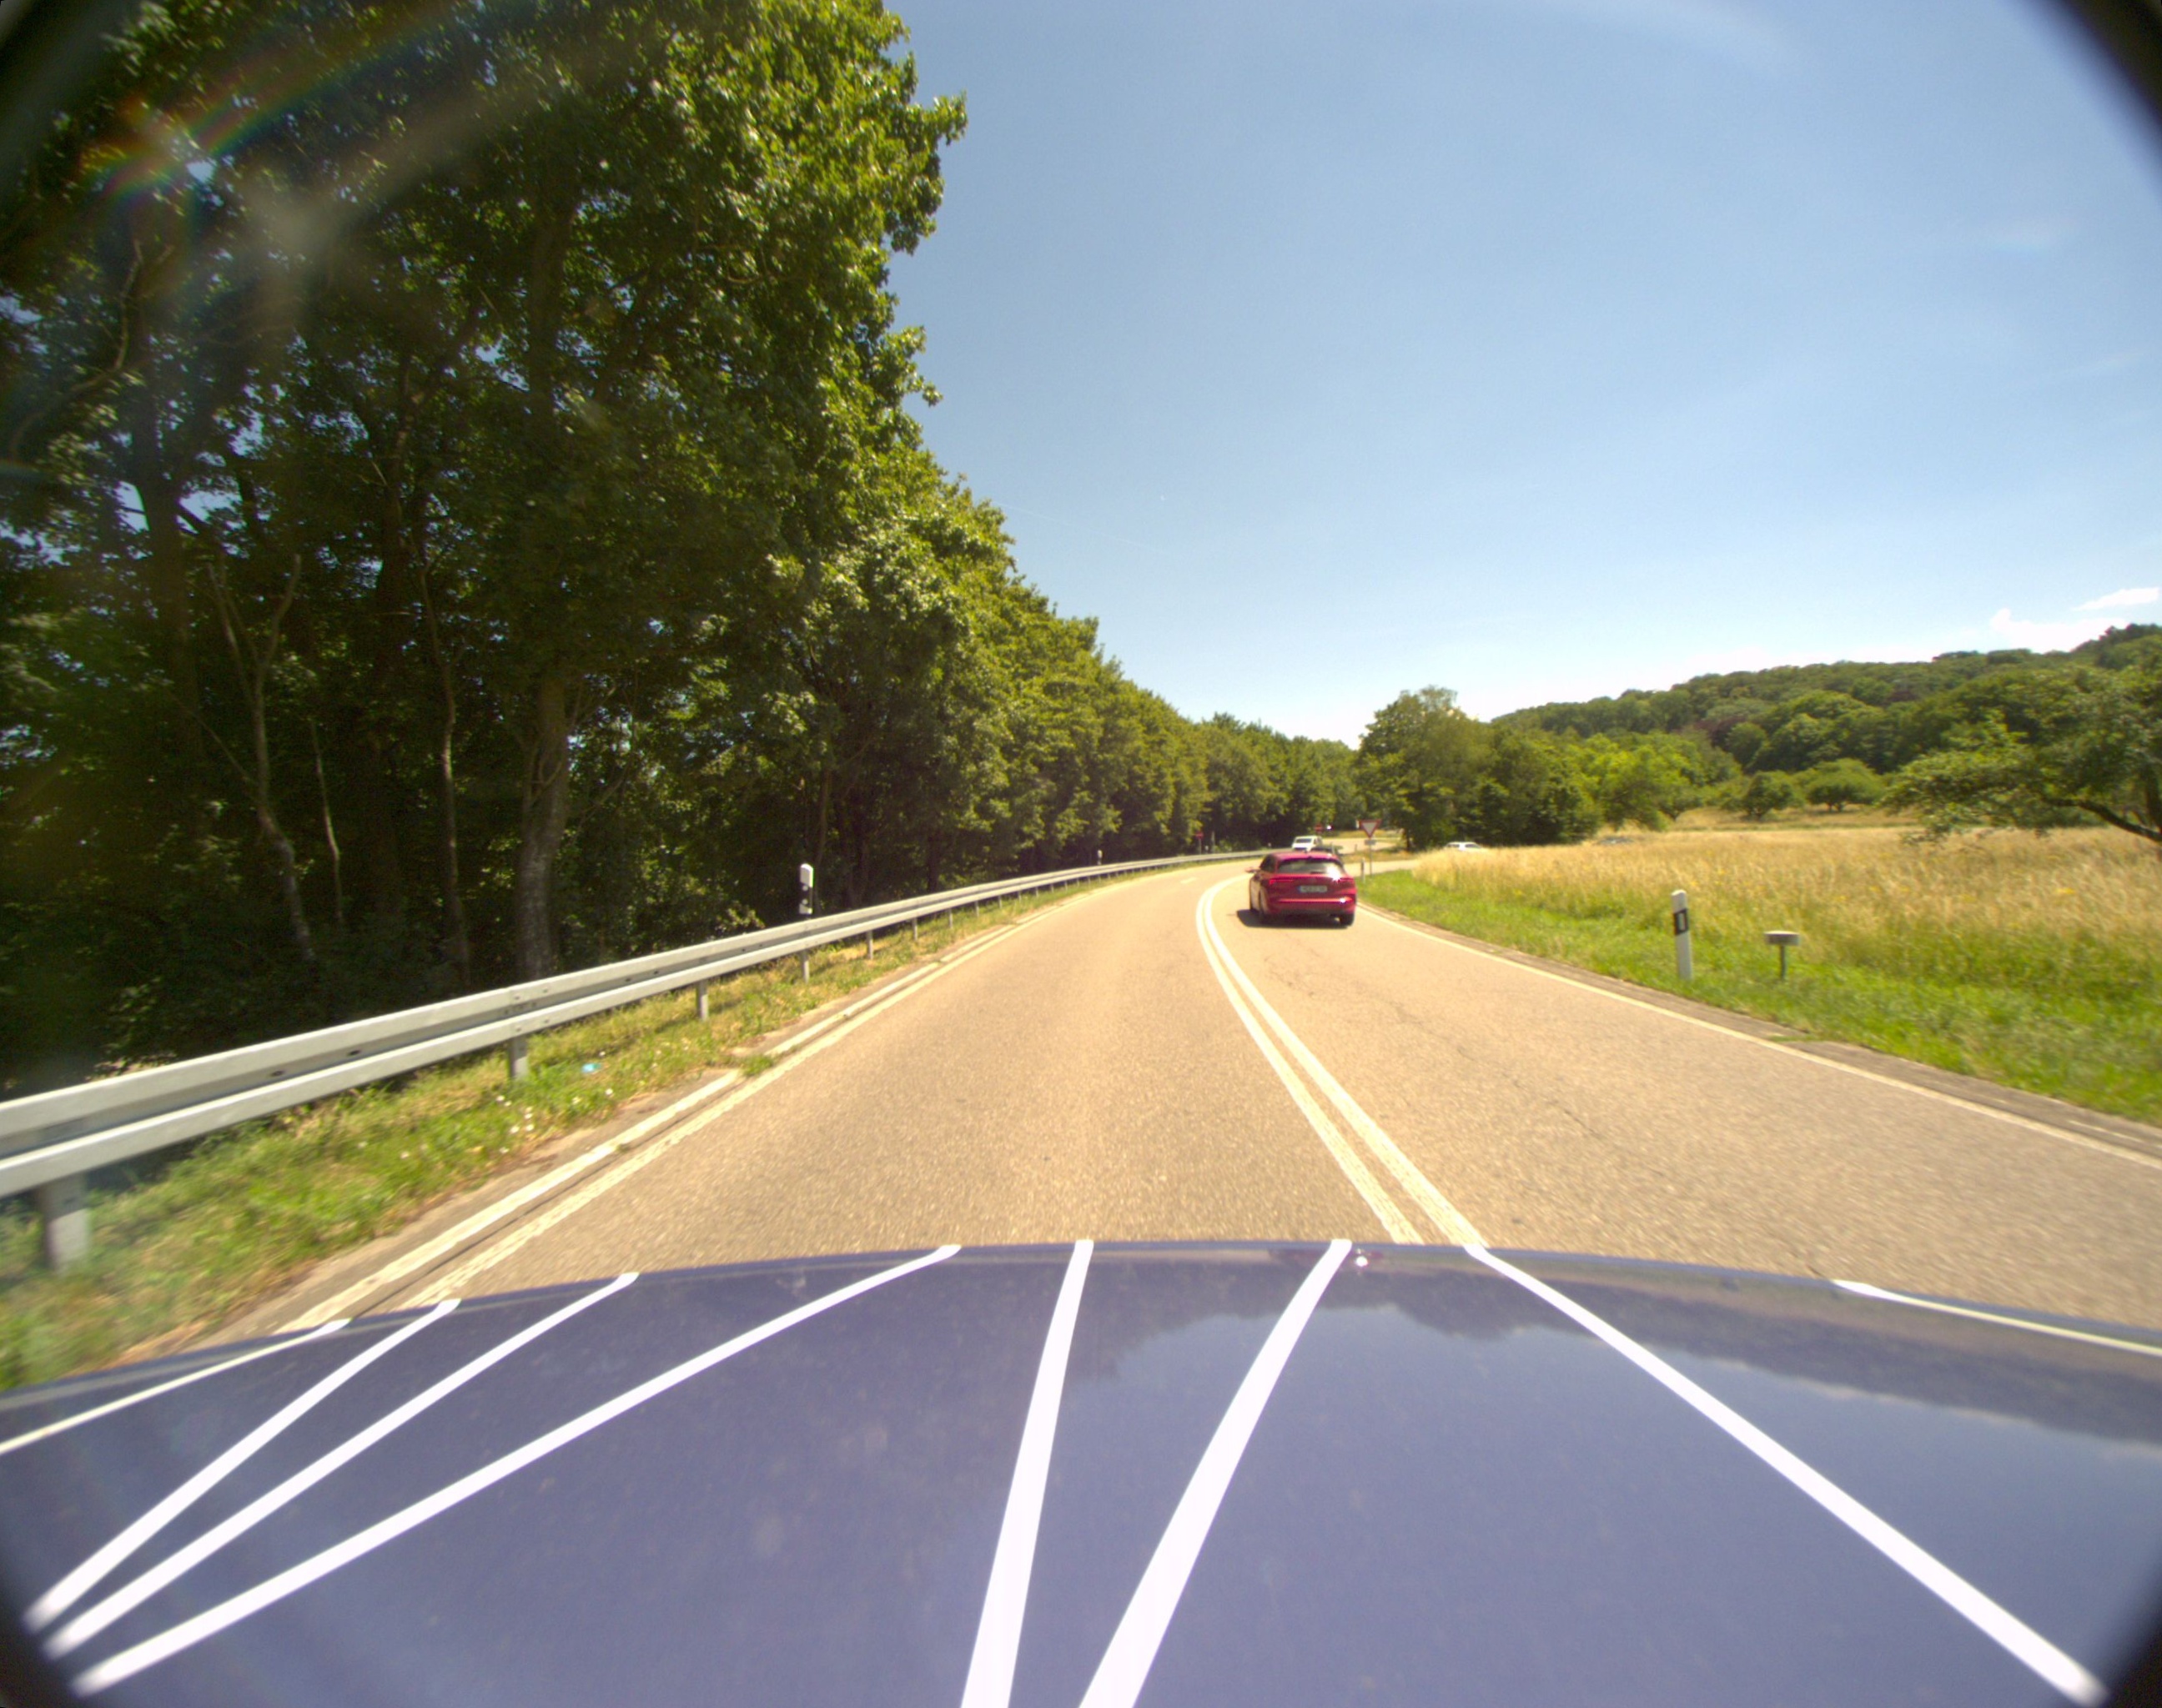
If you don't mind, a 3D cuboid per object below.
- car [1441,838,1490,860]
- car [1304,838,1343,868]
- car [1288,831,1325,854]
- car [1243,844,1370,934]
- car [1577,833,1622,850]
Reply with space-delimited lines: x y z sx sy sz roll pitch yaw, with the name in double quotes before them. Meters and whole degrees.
"car" 29.407 -0.408 58.075 4.226 1.582 1.822 -1 4 -41
"car" 13.652 -0.083 42.685 1.736 1.498 4.078 -2 1 22
"car" 22.327 -1.159 75.212 2.220 2.021 5.436 -2 1 30
"car" 4.550 0.605 15.987 1.826 1.450 4.401 2 3 7
"car" 45.328 -1.106 66.405 4.667 1.498 1.803 -1 2 -37
